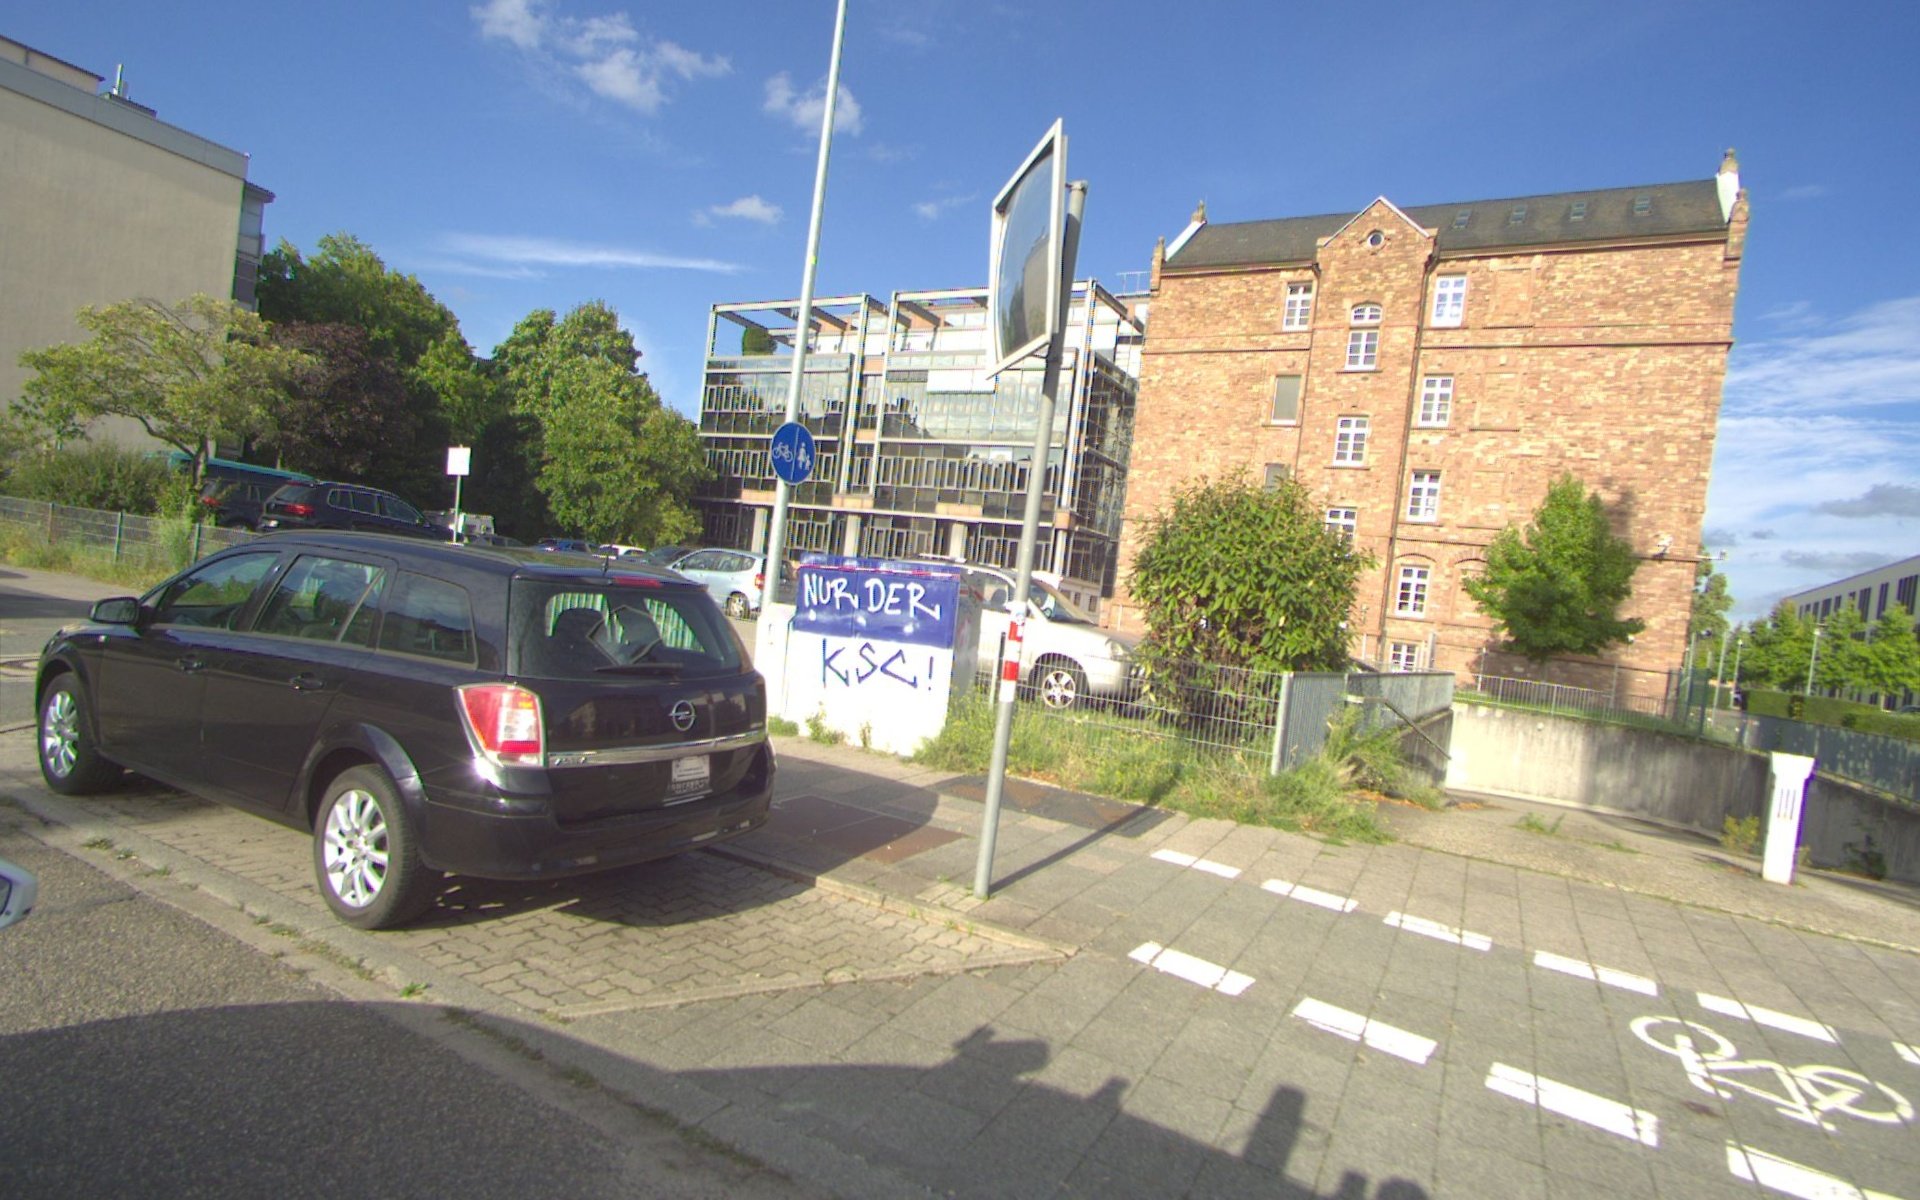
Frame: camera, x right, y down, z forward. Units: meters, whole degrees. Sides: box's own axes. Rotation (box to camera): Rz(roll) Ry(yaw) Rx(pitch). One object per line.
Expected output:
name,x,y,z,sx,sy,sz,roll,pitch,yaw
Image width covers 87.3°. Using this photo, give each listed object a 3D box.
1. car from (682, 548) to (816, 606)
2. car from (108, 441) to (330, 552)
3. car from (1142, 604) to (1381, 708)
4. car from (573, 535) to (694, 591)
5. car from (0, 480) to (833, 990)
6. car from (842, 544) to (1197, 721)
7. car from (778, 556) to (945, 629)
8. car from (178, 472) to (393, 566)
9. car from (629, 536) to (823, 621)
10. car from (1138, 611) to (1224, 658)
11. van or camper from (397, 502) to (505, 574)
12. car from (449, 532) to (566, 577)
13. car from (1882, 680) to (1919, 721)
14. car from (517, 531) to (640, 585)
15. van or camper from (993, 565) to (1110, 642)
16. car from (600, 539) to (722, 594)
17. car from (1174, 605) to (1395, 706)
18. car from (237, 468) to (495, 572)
car,-6.895,-0.732,33.179,1.968,1.326,3.990,7,-1,34
car,-19.171,-2.623,26.206,1.967,2.214,4.121,7,1,33
car,6.480,1.153,21.784,4.530,1.610,1.851,7,2,31
car,-12.292,-1.355,38.063,1.965,1.616,3.992,7,1,28
car,-2.900,0.371,5.084,4.196,1.514,1.720,7,0,31
car,0.748,0.364,13.268,4.081,1.687,1.995,7,1,30
car,-2.660,-0.193,27.274,3.927,1.460,1.998,7,1,22
car,-16.945,-1.996,25.447,1.967,1.761,3.989,7,1,33
car,-5.448,-0.498,23.385,3.930,1.460,1.997,7,1,27
car,8.455,1.343,38.269,1.966,1.460,3.991,7,1,30
van or camper,-25.303,-3.091,49.965,5.037,2.910,2.331,7,0,32
car,-18.730,-1.867,41.782,1.965,1.346,3.993,7,1,27
car,54.705,5.823,55.327,5.397,2.038,1.996,7,-1,32
car,-14.644,-1.597,38.808,1.965,1.572,3.992,7,1,28
van or camper,3.748,0.214,40.010,2.551,2.589,5.247,7,1,28
car,-10.628,-1.161,36.015,1.964,1.505,3.996,7,1,24
car,7.803,1.267,24.262,4.716,1.766,1.853,6,2,25
car,-13.069,-1.713,22.402,1.967,1.642,4.450,9,2,33
